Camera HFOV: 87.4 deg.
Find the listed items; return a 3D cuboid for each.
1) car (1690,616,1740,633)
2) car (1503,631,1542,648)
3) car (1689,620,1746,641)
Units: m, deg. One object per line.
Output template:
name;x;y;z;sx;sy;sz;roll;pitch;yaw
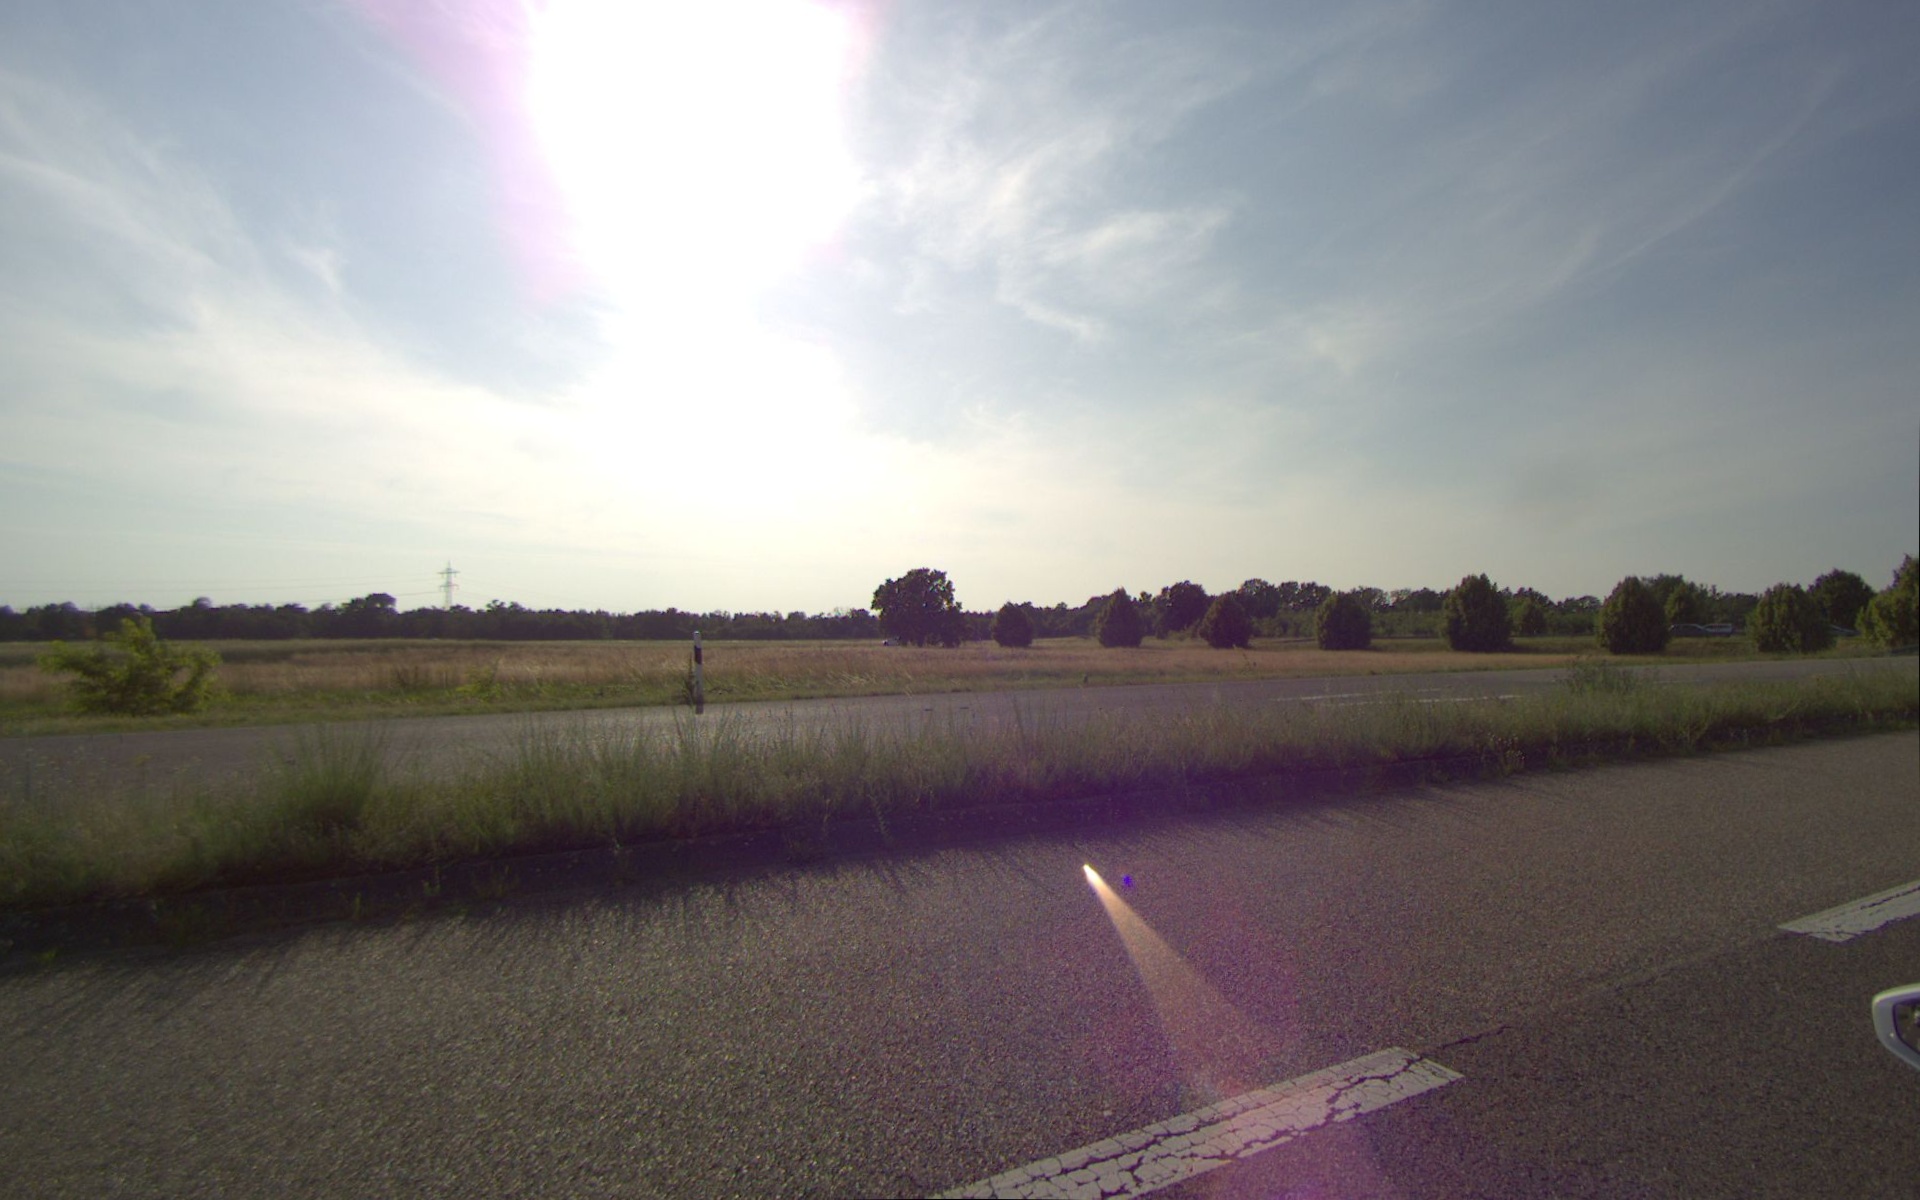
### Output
car;83.579;2.697;111.249;1.978;1.689;3.966;2;0;-31
car;72.384;5.062;129.266;1.984;2.040;3.952;2;0;-41
car;79.405;3.169;105.327;1.981;2.040;4.426;2;0;-36
